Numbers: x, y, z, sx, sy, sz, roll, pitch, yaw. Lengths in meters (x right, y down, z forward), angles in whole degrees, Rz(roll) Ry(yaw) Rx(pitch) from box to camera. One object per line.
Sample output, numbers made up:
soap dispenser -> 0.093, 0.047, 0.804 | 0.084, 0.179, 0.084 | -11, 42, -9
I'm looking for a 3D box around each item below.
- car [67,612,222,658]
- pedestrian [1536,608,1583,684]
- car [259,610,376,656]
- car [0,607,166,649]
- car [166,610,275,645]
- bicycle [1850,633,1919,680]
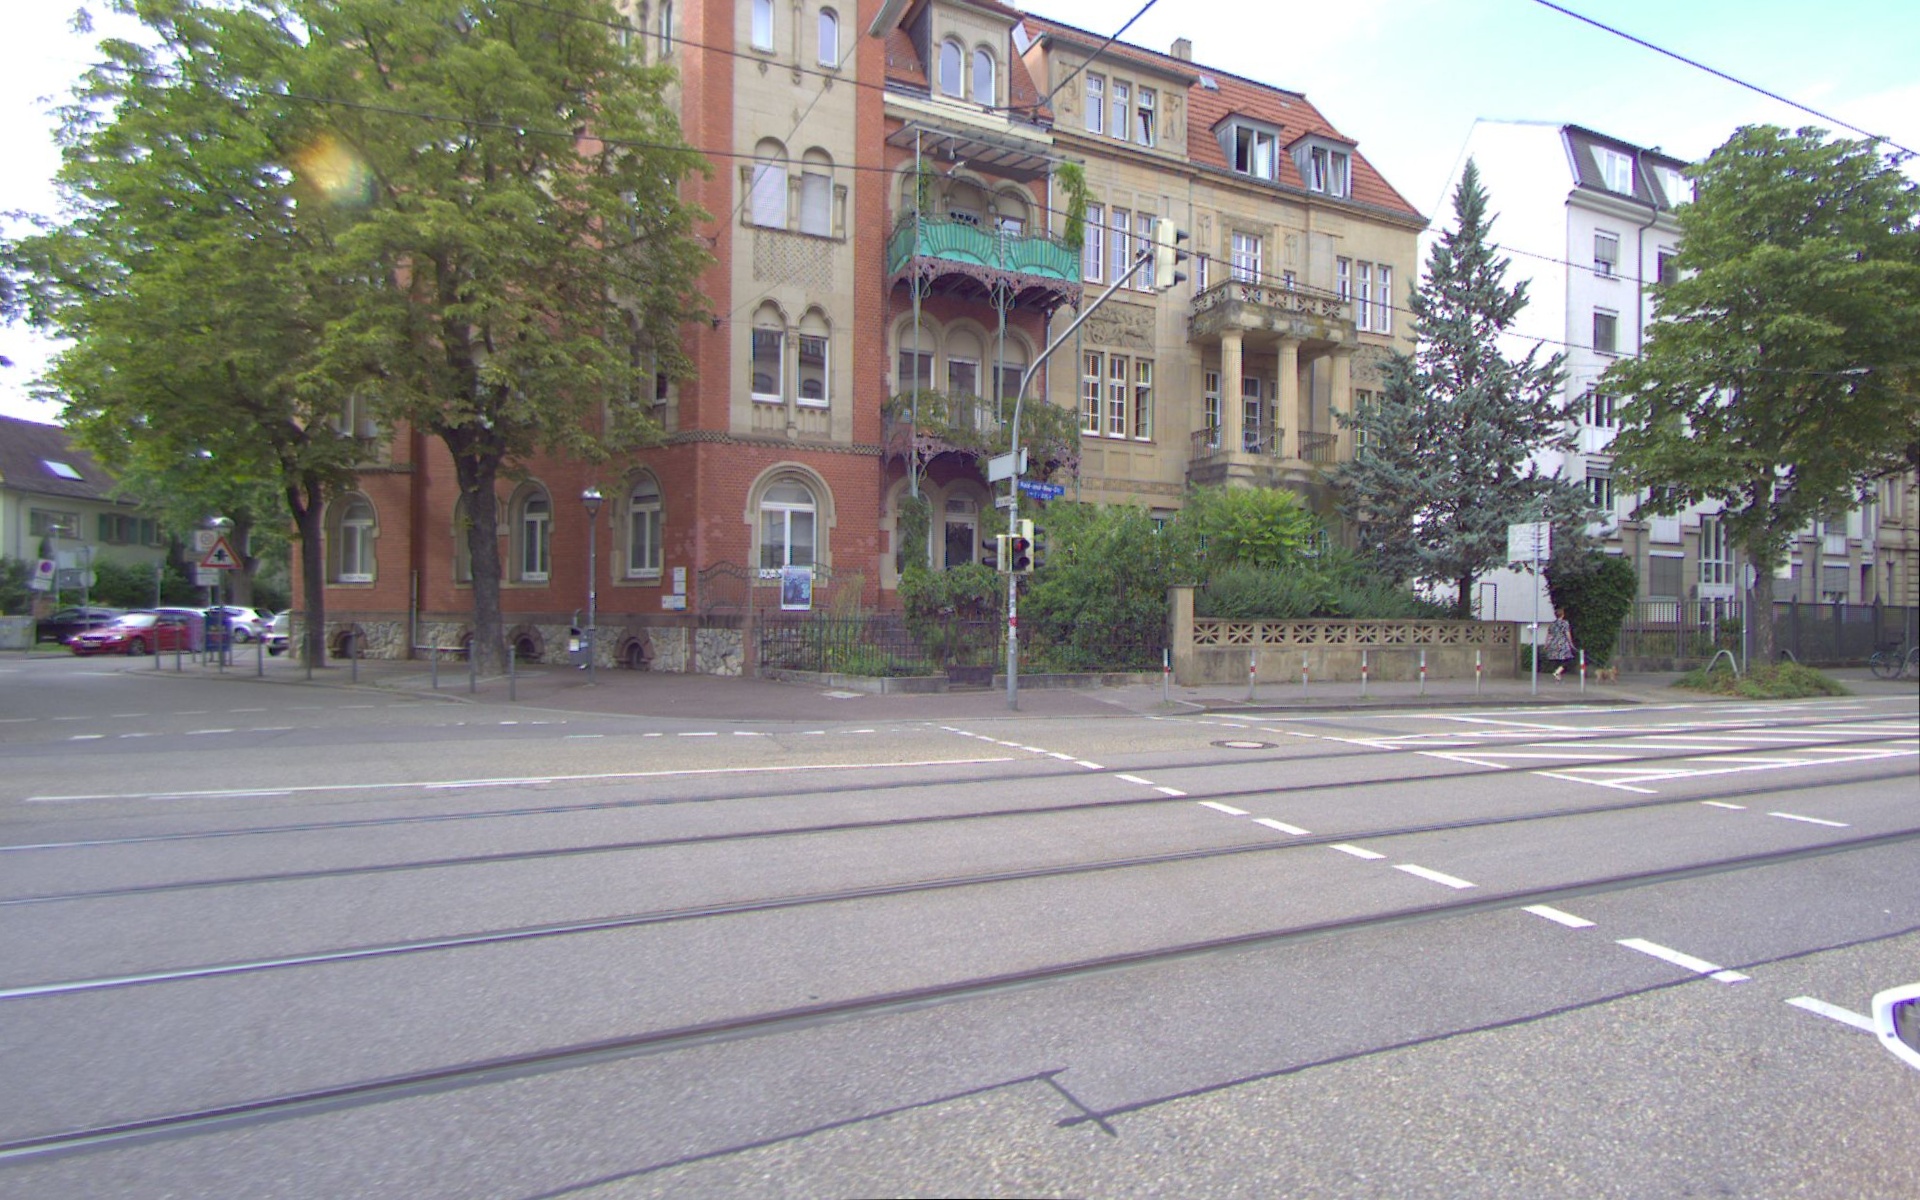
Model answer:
car -> -26.790, 1.114, 33.211 | 1.670, 1.423, 4.311 | 0, -1, -1
pedestrian -> 14.321, 1.092, 24.001 | 0.692, 1.759, 0.702 | 1, 1, -29
car -> -22.039, 1.098, 34.643 | 1.671, 1.492, 3.998 | 1, -1, -4
car -> -31.424, 0.985, 36.043 | 4.228, 1.423, 1.909 | 1, -1, -3
car -> -31.105, 1.137, 42.402 | 1.670, 1.423, 4.000 | 0, -1, -1
bicycle -> 25.680, 1.548, 27.211 | 2.198, 1.191, 0.833 | 1, 1, 33
